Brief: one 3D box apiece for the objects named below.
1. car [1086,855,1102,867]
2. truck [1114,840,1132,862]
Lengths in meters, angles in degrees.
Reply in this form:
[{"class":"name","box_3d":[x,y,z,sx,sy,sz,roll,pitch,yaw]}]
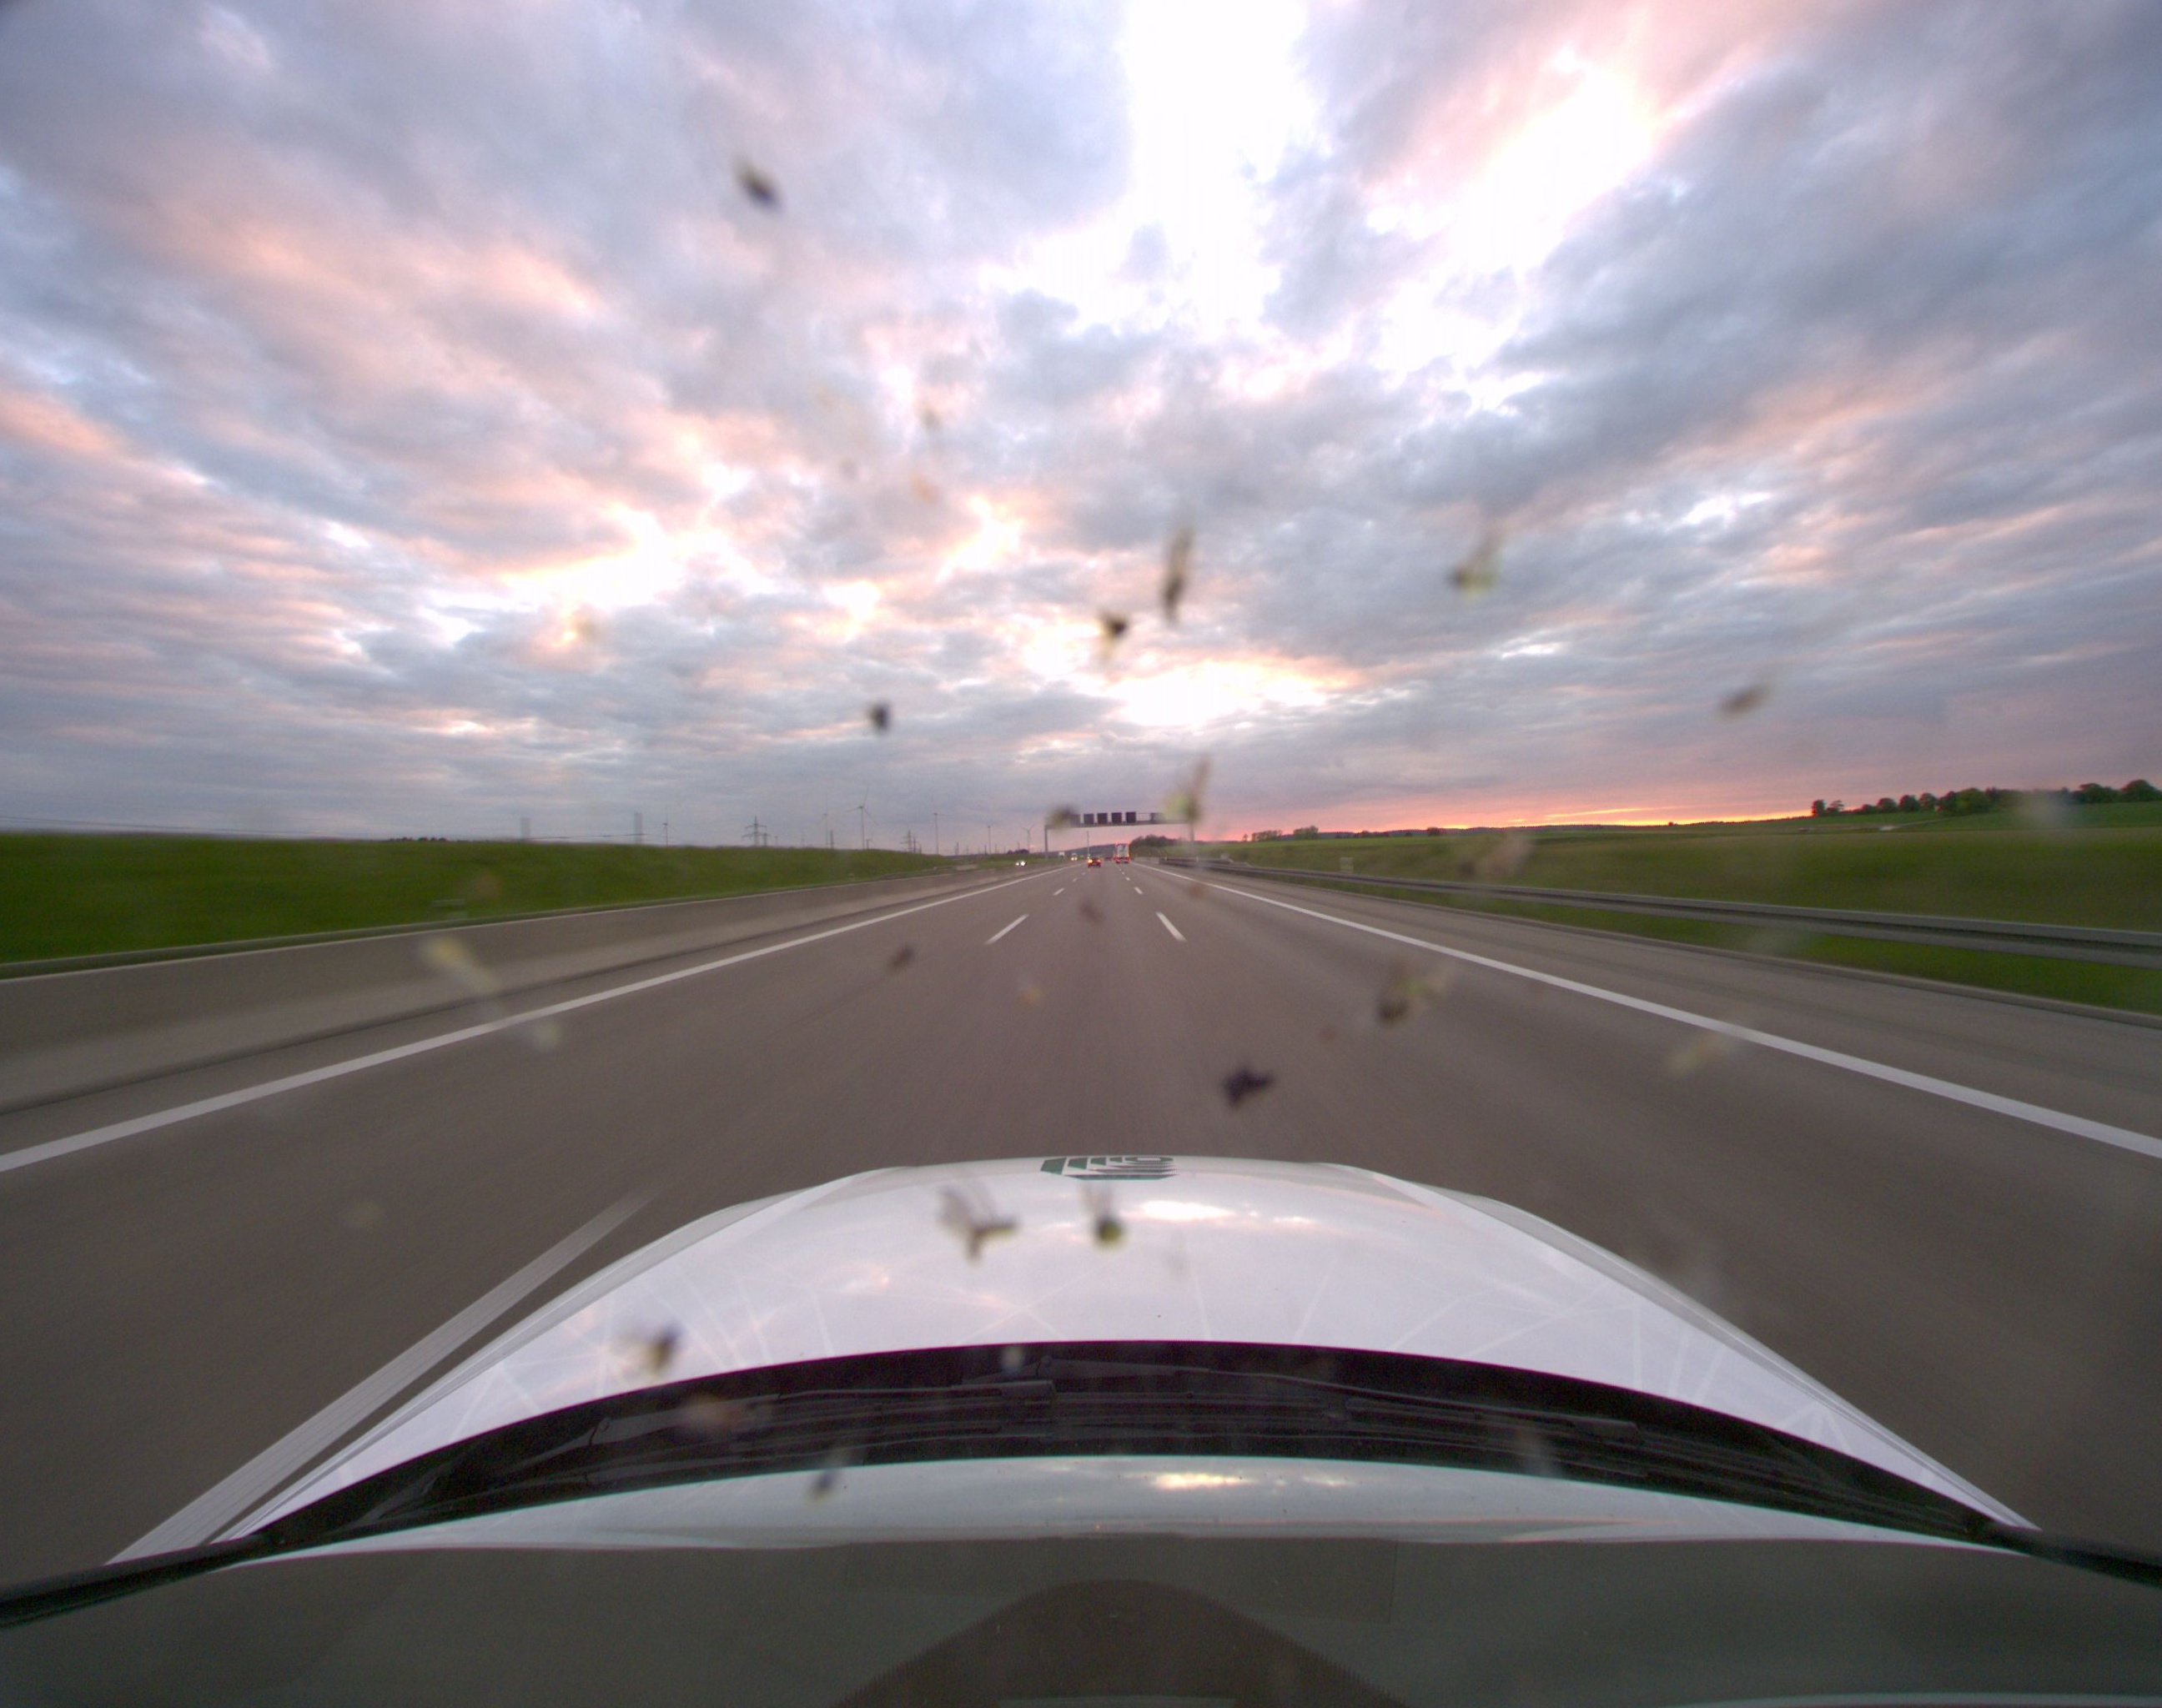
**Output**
[{"class":"car","box_3d":[1.795,0.957,110.982,1.980,1.429,4.001,-2,0,1]},{"class":"truck","box_3d":[8.798,-0.549,172.333,3.661,4.565,10.986,0,0,2]}]
